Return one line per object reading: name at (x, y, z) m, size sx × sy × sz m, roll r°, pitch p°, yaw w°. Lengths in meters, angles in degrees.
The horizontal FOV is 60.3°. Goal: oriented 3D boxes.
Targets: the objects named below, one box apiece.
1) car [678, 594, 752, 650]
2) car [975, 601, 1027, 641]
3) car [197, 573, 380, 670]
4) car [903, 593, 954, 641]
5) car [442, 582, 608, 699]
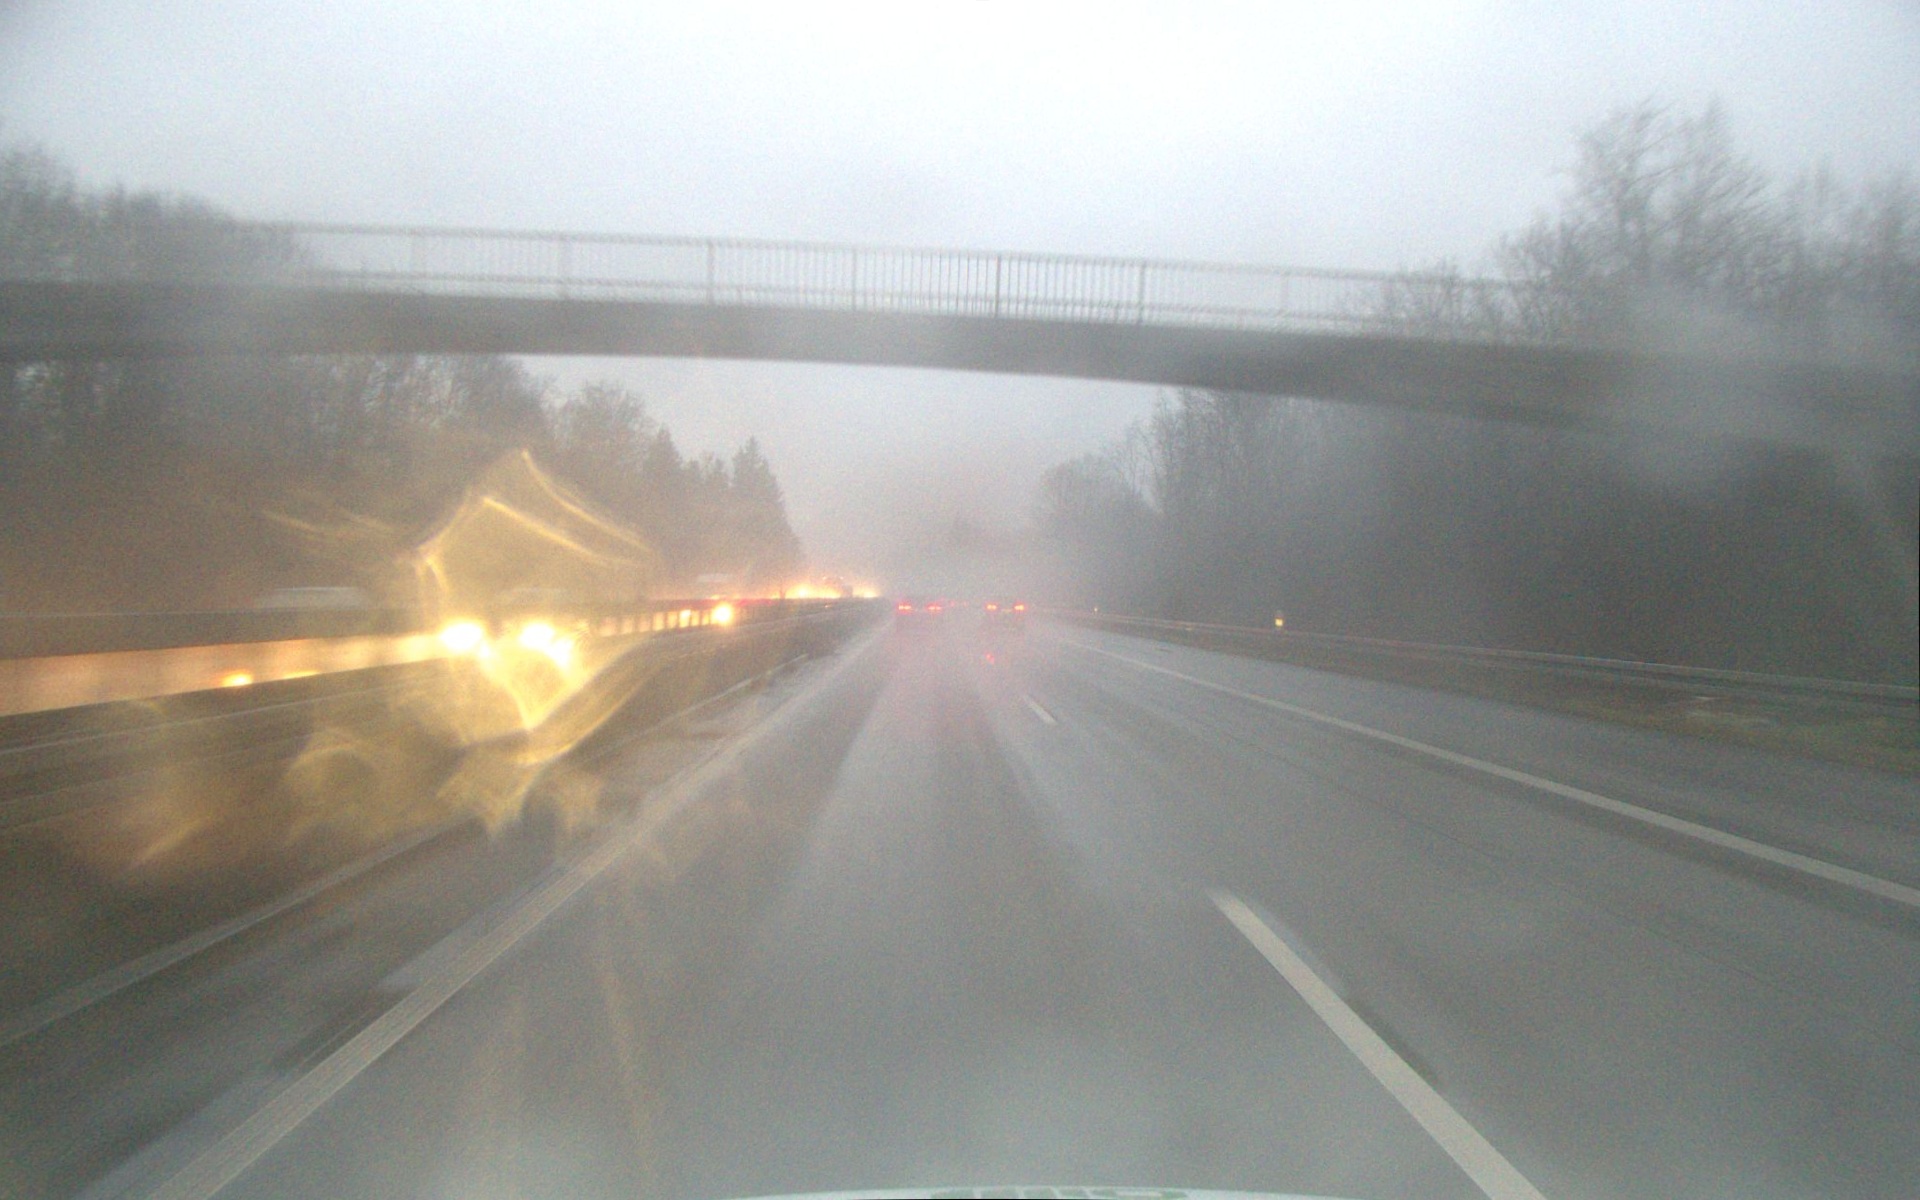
car at (-8.516, 0.747, 57.885) m, size 1.866 × 1.799 × 5.259 m, roll 2°, pitch 0°, yaw -2°
car at (1.833, 0.941, 75.241) m, size 2.029 × 1.727 × 4.459 m, roll 1°, pitch 0°, yaw -2°
car at (-12.286, 0.377, 30.527) m, size 1.744 × 1.635 × 3.999 m, roll 1°, pitch 0°, yaw 0°
car at (-1.278, 0.662, 65.564) m, size 1.946 × 1.798 × 4.171 m, roll 1°, pitch 0°, yaw -2°
car at (-7.409, 0.655, 28.621) m, size 1.699 × 1.799 × 4.615 m, roll 2°, pitch 0°, yaw -2°
